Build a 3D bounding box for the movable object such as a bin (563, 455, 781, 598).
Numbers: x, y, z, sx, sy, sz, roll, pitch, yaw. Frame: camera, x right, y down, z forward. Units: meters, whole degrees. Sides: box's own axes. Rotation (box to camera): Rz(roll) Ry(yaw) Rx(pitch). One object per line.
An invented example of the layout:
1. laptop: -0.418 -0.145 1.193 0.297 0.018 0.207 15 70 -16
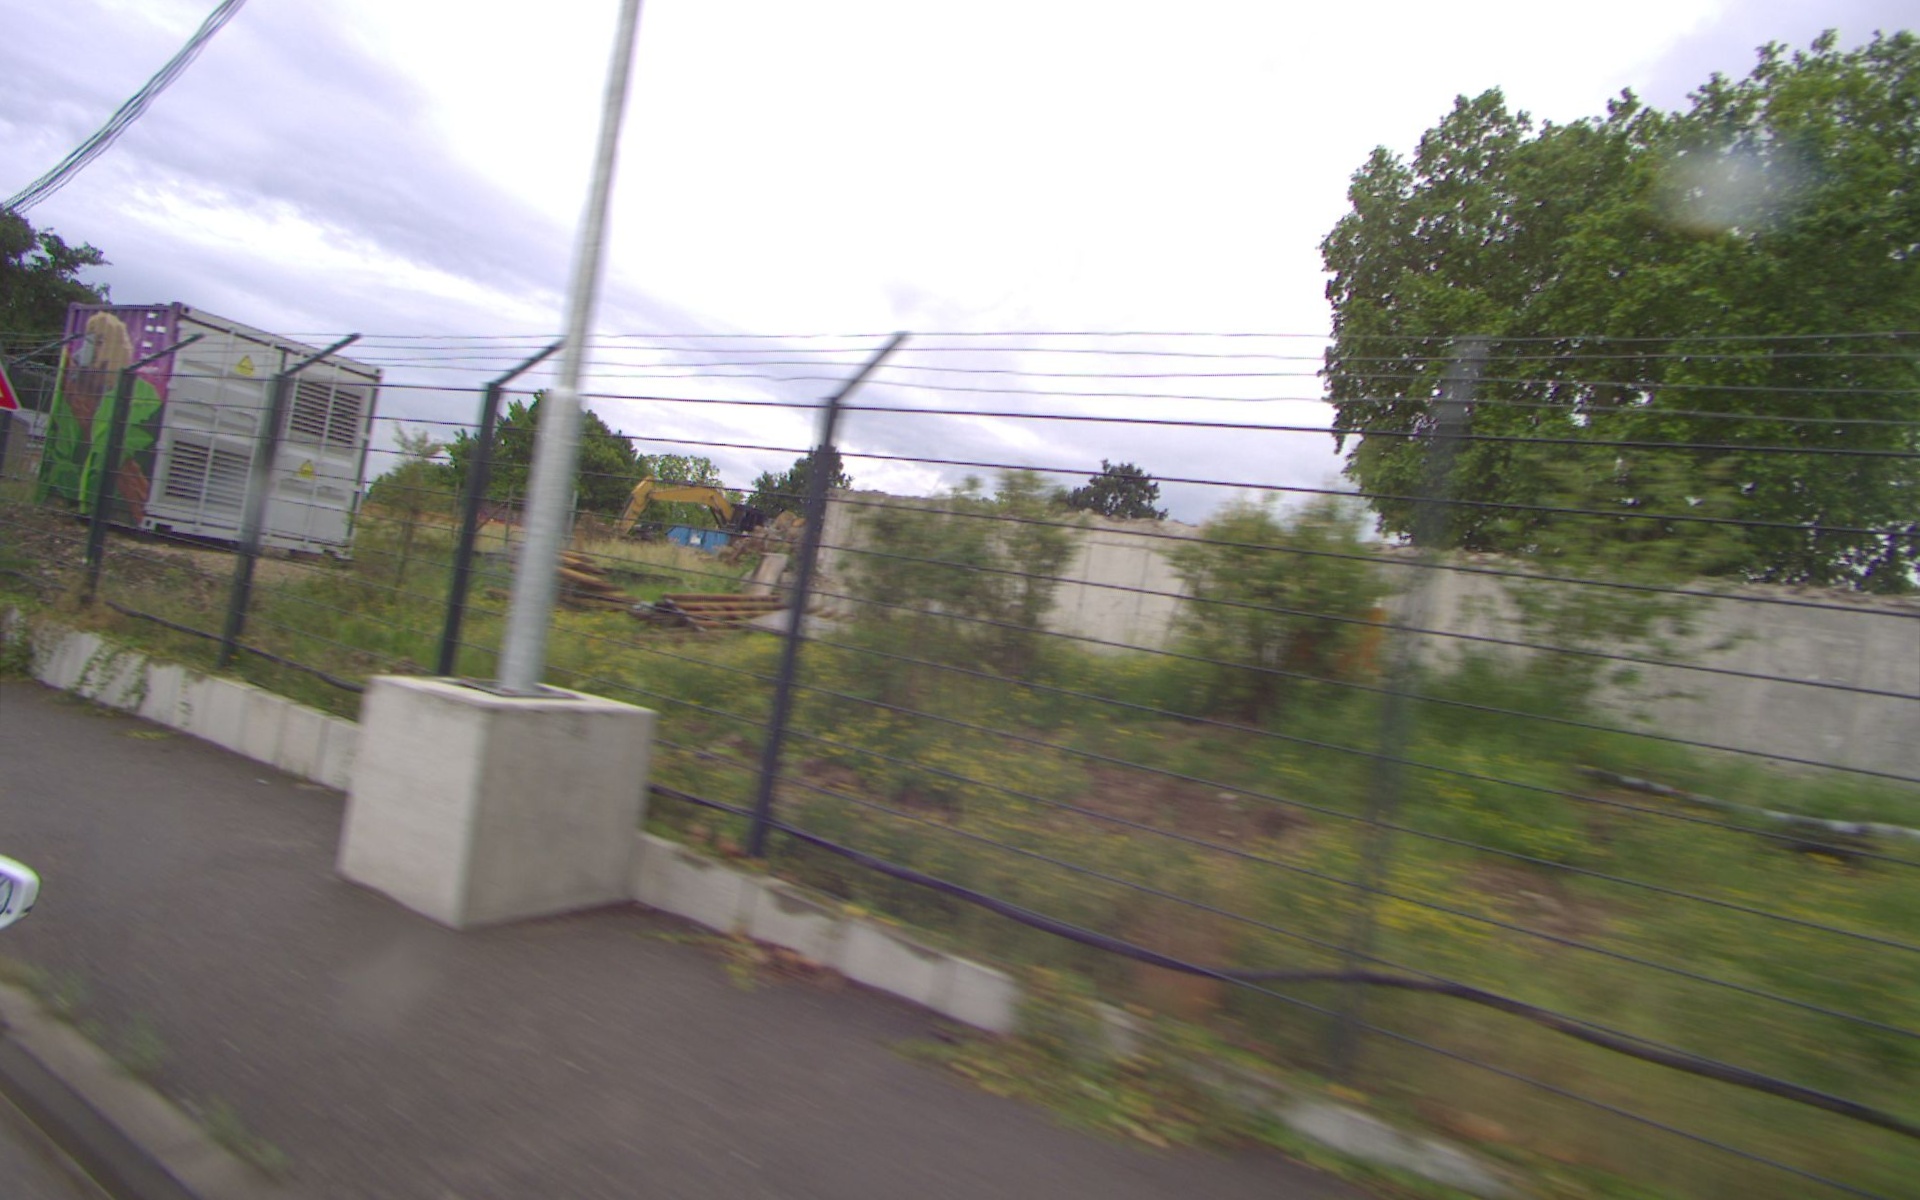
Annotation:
1. movable object such as a bin: -15.968 -3.915 56.965 3.442 6.065 11.223 7 -2 41
